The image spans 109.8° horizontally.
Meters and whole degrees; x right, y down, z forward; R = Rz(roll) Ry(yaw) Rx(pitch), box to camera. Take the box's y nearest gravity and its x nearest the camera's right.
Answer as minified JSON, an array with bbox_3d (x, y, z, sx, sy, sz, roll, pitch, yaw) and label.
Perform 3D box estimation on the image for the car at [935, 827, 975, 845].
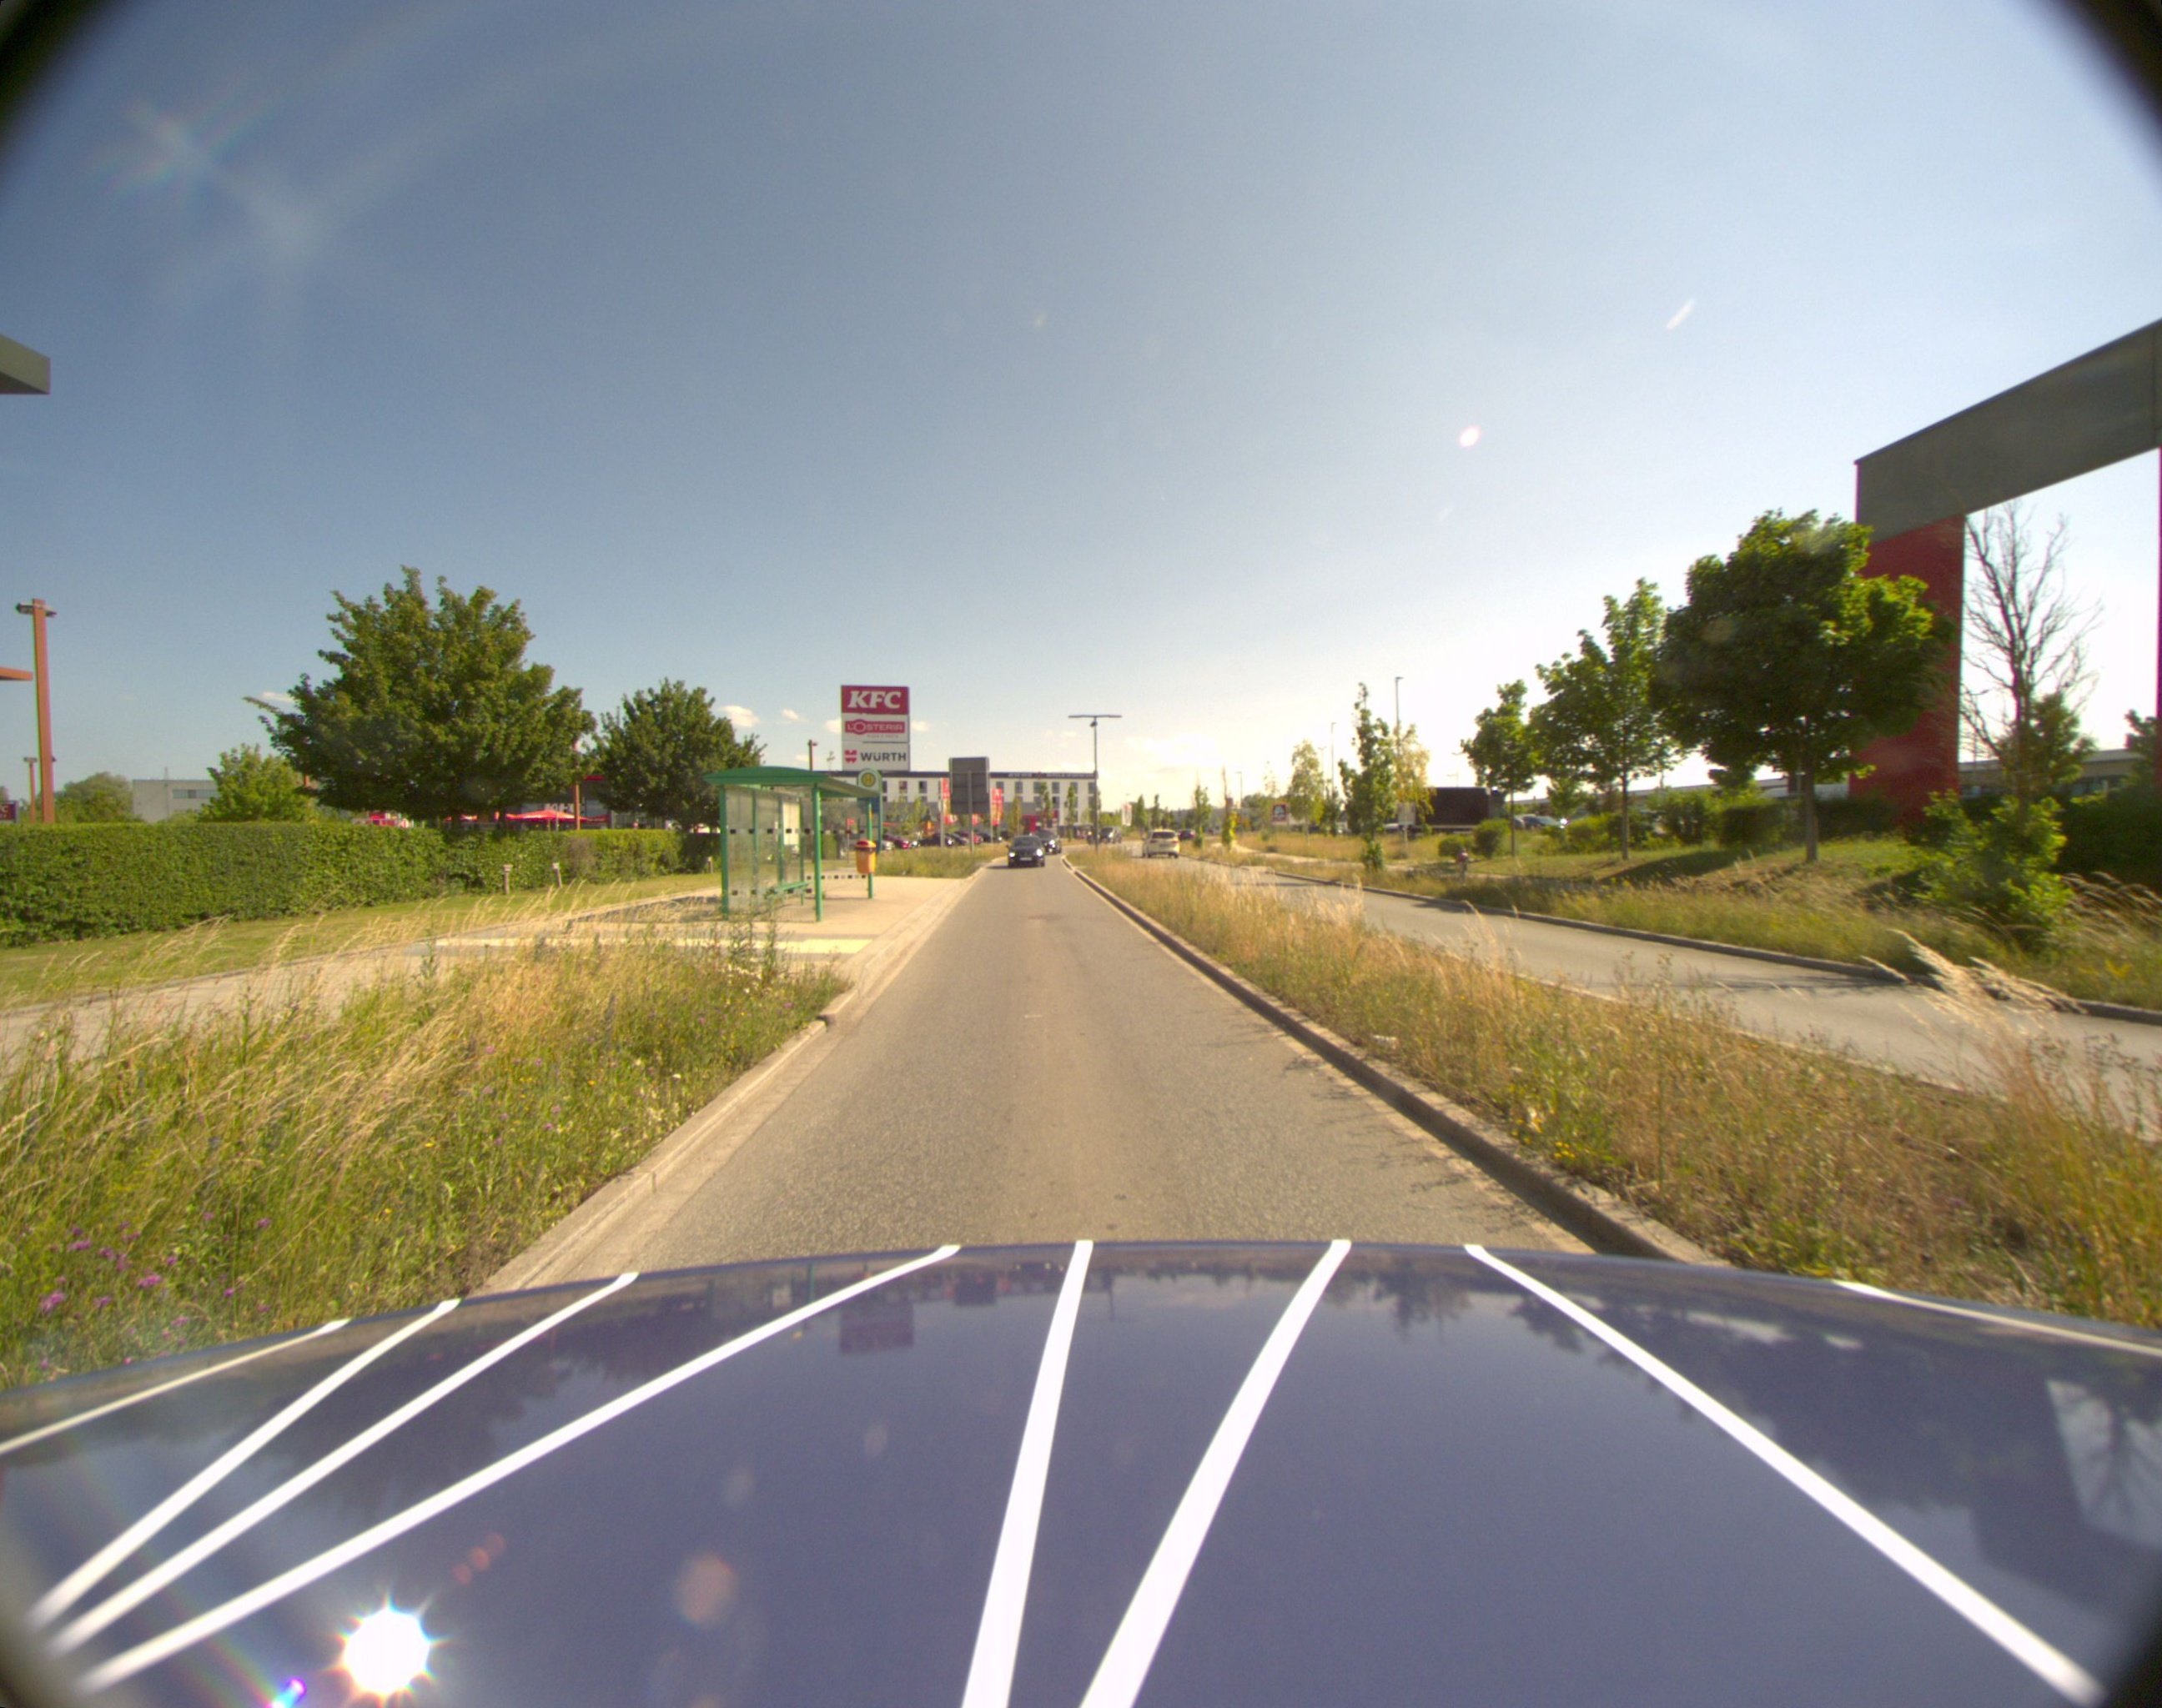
[{"bbox_3d":[-14.811,-2.091,89.556,4.181,2.002,1.934,0,2,9],"label":"car"}]

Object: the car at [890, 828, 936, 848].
[{"bbox_3d":[-17.342,-1.652,78.445,4.180,2.002,1.934,0,2,10],"label":"car"}]

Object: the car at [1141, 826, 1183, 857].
[{"bbox_3d":[4.685,-0.737,44.558,1.862,1.705,4.155,0,2,-2],"label":"car"}]

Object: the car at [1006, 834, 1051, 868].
[{"bbox_3d":[-2.376,-0.169,35.207,1.862,1.460,3.998,-1,1,-1],"label":"car"}]

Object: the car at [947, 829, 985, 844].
[{"bbox_3d":[-14.014,-2.118,92.440,4.179,1.752,1.825,0,2,14],"label":"car"}]

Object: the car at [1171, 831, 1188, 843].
[{"bbox_3d":[14.040,-2.392,108.299,1.996,1.674,4.003,0,1,12],"label":"car"}]

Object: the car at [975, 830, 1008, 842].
[{"bbox_3d":[-11.642,-2.360,98.965,3.819,1.610,1.758,0,2,10],"label":"car"}]

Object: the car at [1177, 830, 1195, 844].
[{"bbox_3d":[12.896,-2.118,93.395,1.998,1.609,4.000,0,2,5],"label":"car"}]

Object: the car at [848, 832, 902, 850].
[{"bbox_3d":[-19.165,-1.237,70.745,4.439,1.643,1.933,-1,2,3],"label":"car"}]

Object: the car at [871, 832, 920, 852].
[{"bbox_3d":[-18.400,-1.192,75.421,4.180,2.002,1.934,0,2,11],"label":"car"}]

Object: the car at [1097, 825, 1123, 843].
[{"bbox_3d":[3.348,-2.269,86.833,2.077,2.037,4.687,0,2,15],"label":"car"}]

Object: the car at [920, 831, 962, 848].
[{"bbox_3d":[-15.615,-1.571,84.545,4.179,1.847,1.804,0,2,14],"label":"car"}]

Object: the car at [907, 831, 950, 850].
[{"bbox_3d":[-16.441,-1.432,81.994,4.180,2.002,1.934,0,2,10],"label":"car"}]

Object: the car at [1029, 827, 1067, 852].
[{"bbox_3d":[-2.233,-1.037,52.723,1.960,1.653,4.683,0,2,6],"label":"car"}]
